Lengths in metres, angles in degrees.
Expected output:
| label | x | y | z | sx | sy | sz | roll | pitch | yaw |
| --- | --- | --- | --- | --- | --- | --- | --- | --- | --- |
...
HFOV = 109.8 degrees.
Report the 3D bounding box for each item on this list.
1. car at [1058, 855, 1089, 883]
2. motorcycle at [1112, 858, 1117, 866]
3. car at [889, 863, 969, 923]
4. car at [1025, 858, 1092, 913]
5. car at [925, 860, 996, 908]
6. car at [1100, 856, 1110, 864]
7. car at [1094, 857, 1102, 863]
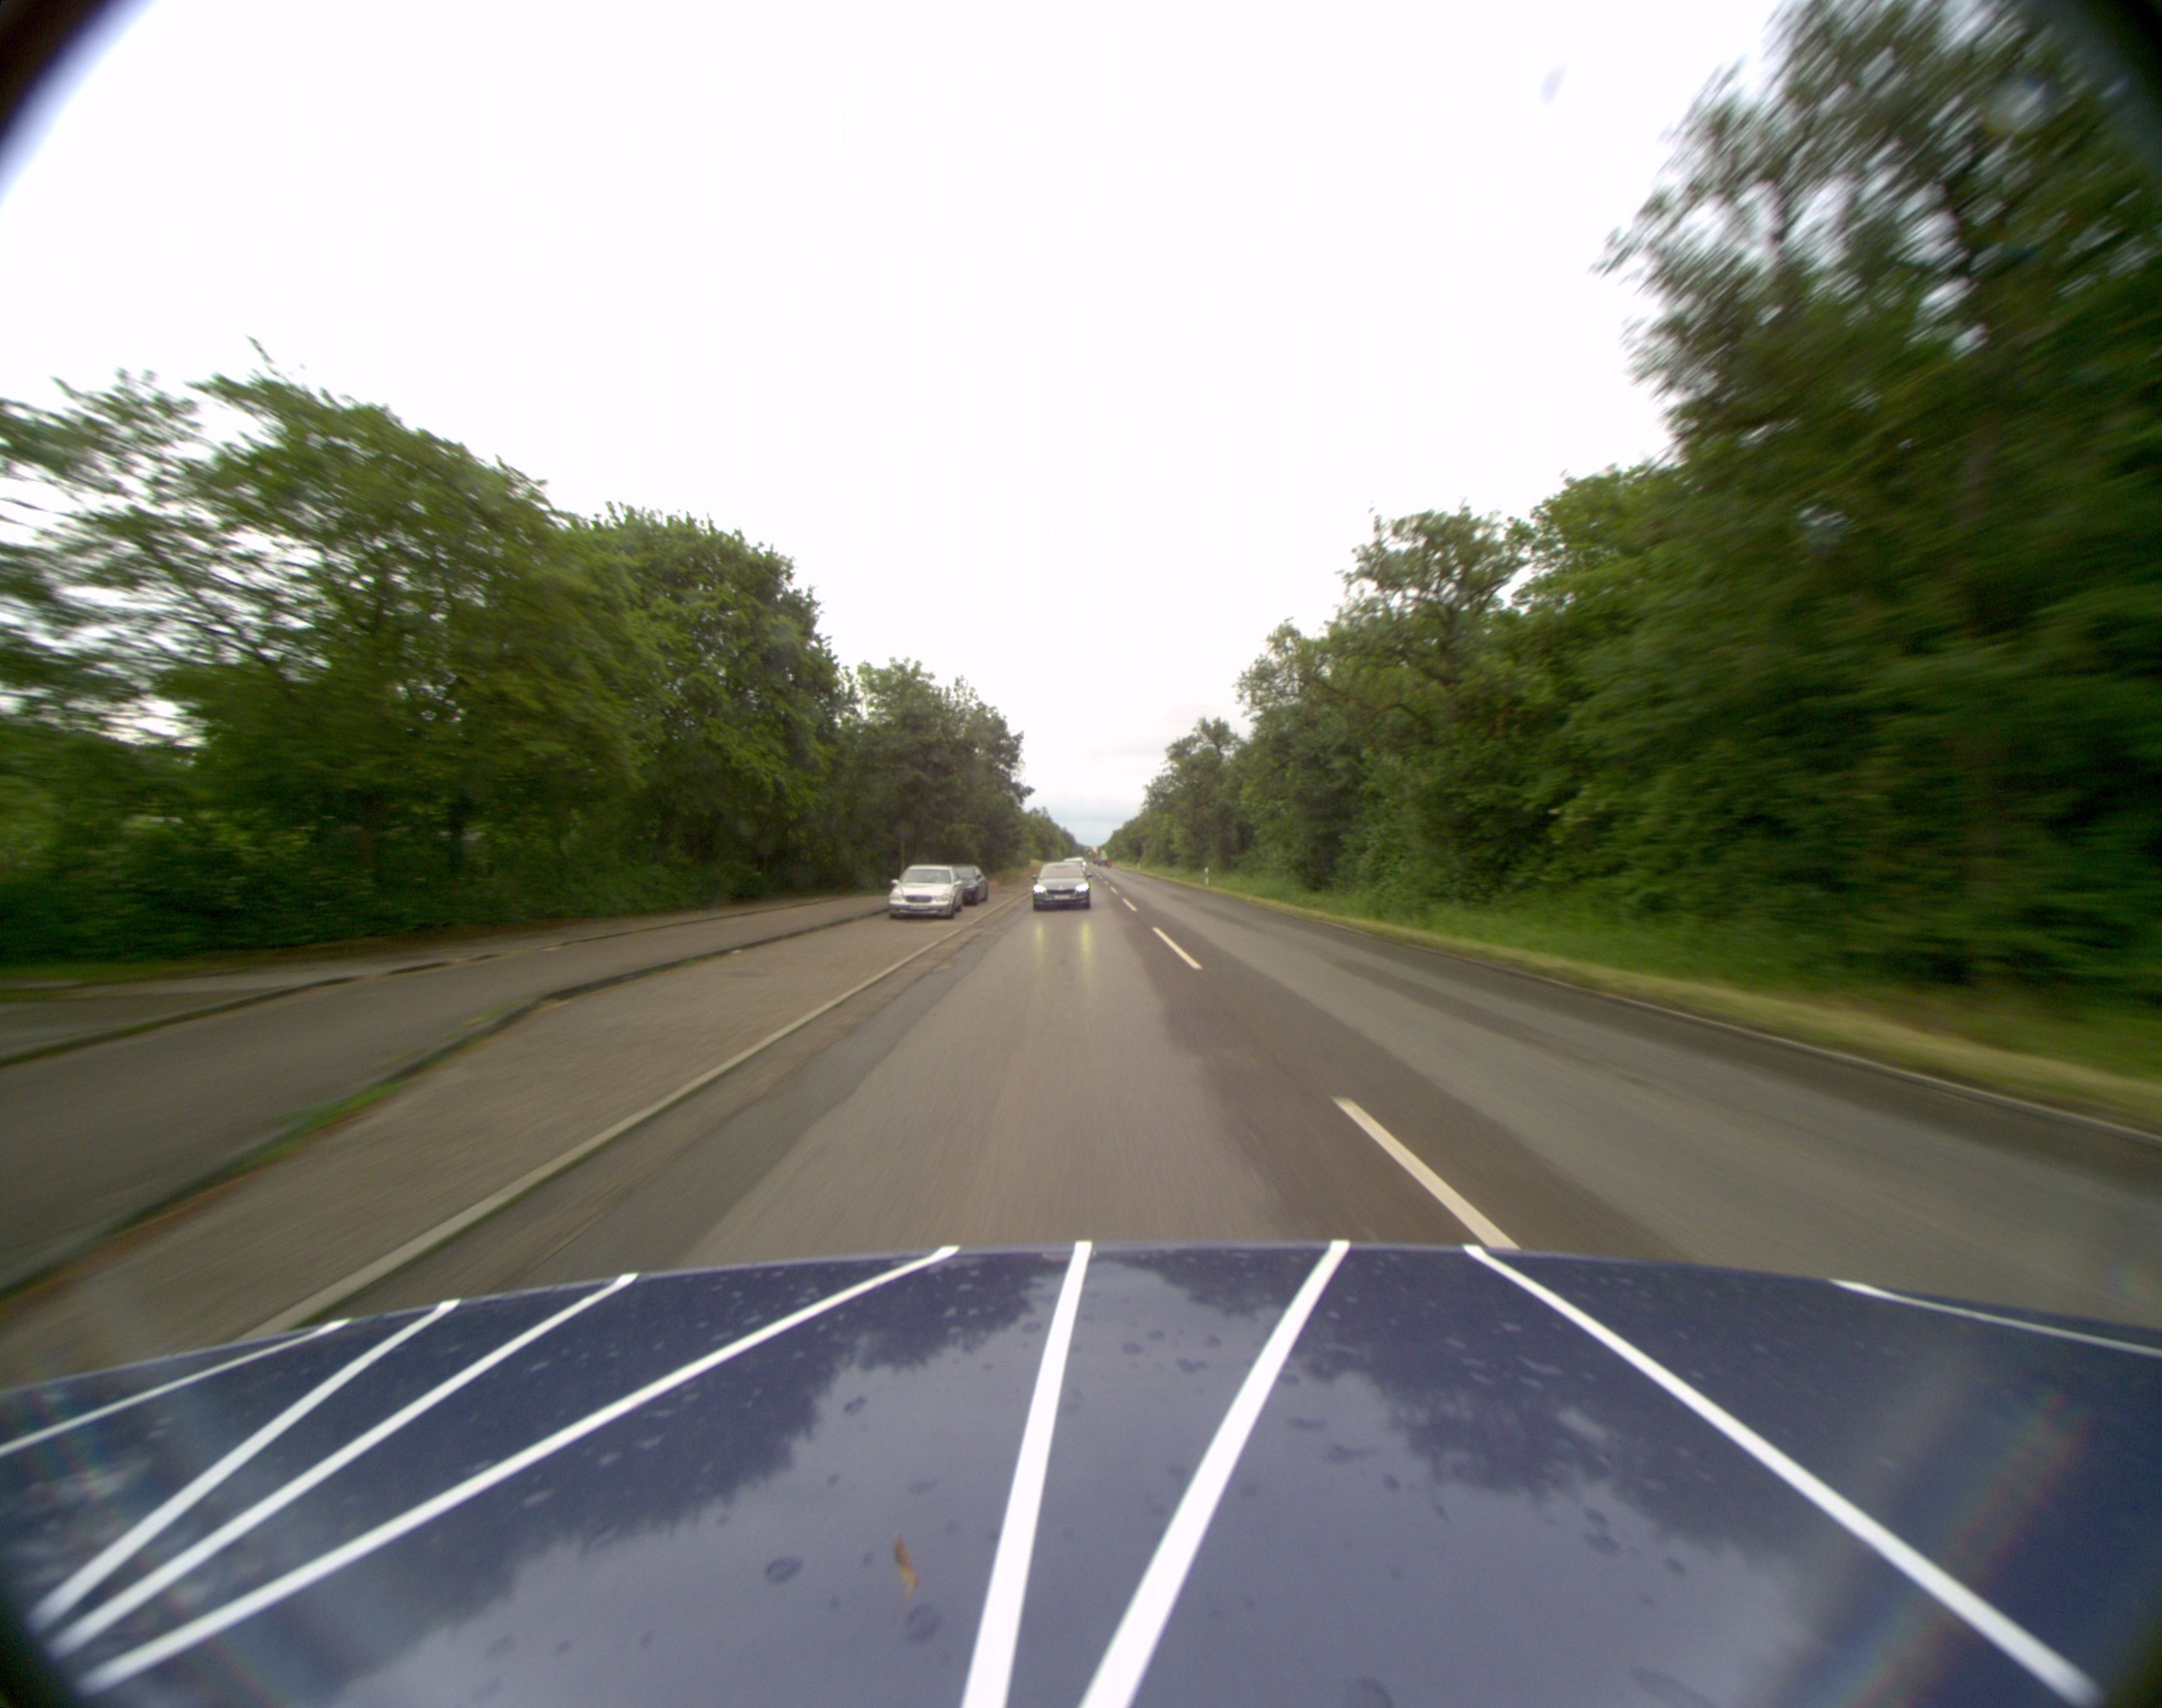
| label | x | y | z | sx | sy | sz | roll | pitch | yaw |
| --- | --- | --- | --- | --- | --- | --- | --- | --- | --- |
| car | -0.488 | 0.960 | 50.918 | 1.915 | 1.690 | 3.913 | -2 | 0 | 0 |
| motorcycle | 5.515 | 1.334 | 126.691 | 0.667 | 1.191 | 2.101 | 1 | 0 | -1 |
| car | -4.257 | 1.040 | 21.843 | 1.749 | 1.460 | 4.218 | 1 | 0 | -4 |
| car | -0.635 | 0.946 | 25.011 | 1.915 | 1.543 | 4.354 | -2 | 0 | 1 |
| car | -4.306 | 1.016 | 27.891 | 1.810 | 1.501 | 4.667 | 2 | 0 | 0 |
| car | 4.520 | 1.061 | 144.580 | 1.793 | 1.465 | 3.623 | 1 | 0 | 0 |
| car | 4.040 | 1.455 | 182.207 | 1.793 | 1.465 | 3.623 | 1 | 0 | 0 |
